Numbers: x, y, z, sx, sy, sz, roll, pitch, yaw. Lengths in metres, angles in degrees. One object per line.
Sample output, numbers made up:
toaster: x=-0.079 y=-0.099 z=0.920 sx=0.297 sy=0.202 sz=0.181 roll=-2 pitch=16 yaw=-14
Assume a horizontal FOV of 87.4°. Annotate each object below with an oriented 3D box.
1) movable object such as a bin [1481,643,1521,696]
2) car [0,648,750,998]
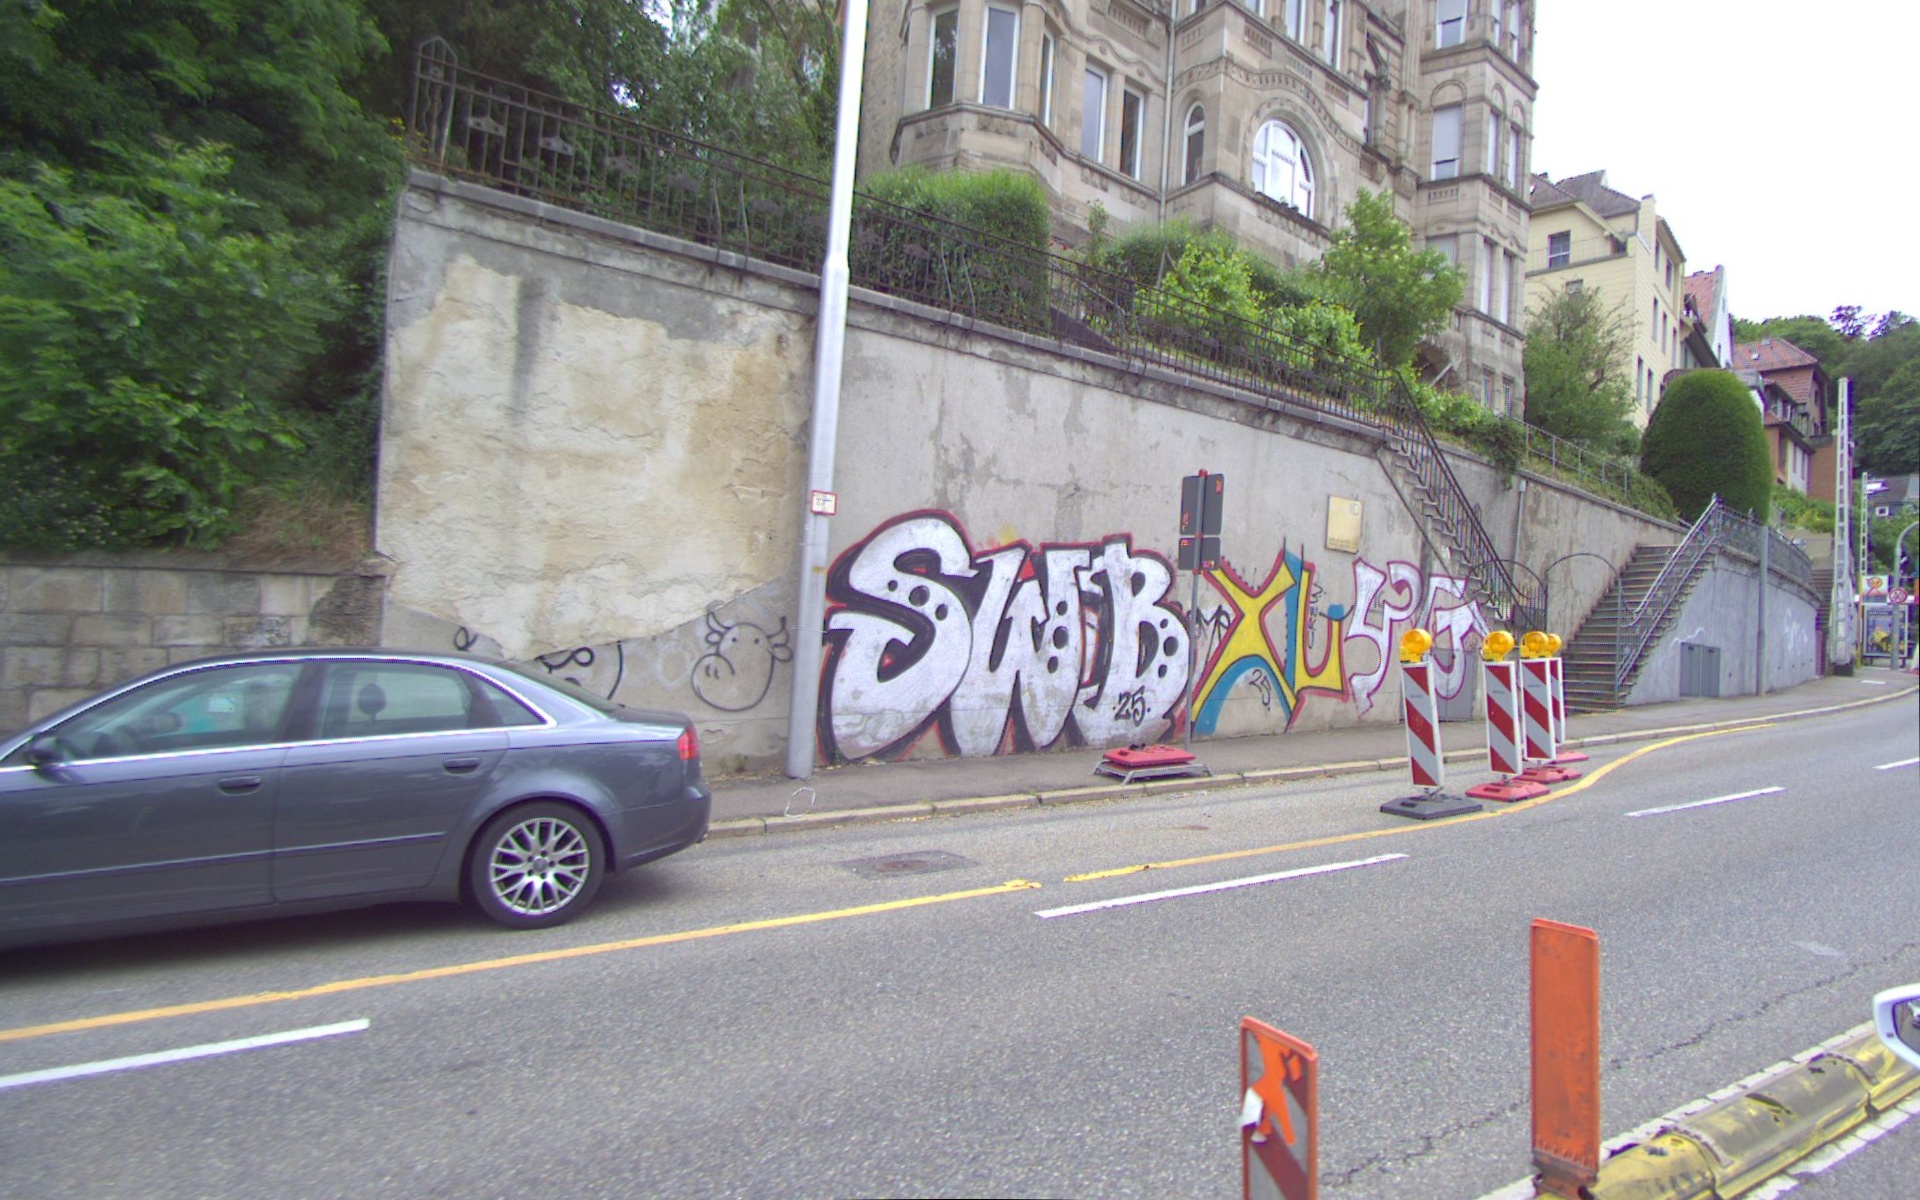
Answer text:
movable object such as a bin: x=9.810 y=1.257 z=18.207 sx=0.502 sy=0.923 sz=0.451 roll=1 pitch=-1 yaw=-33
car: x=-3.460 y=0.959 z=5.252 sx=4.331 sy=1.391 sz=1.793 roll=1 pitch=-3 yaw=-27
